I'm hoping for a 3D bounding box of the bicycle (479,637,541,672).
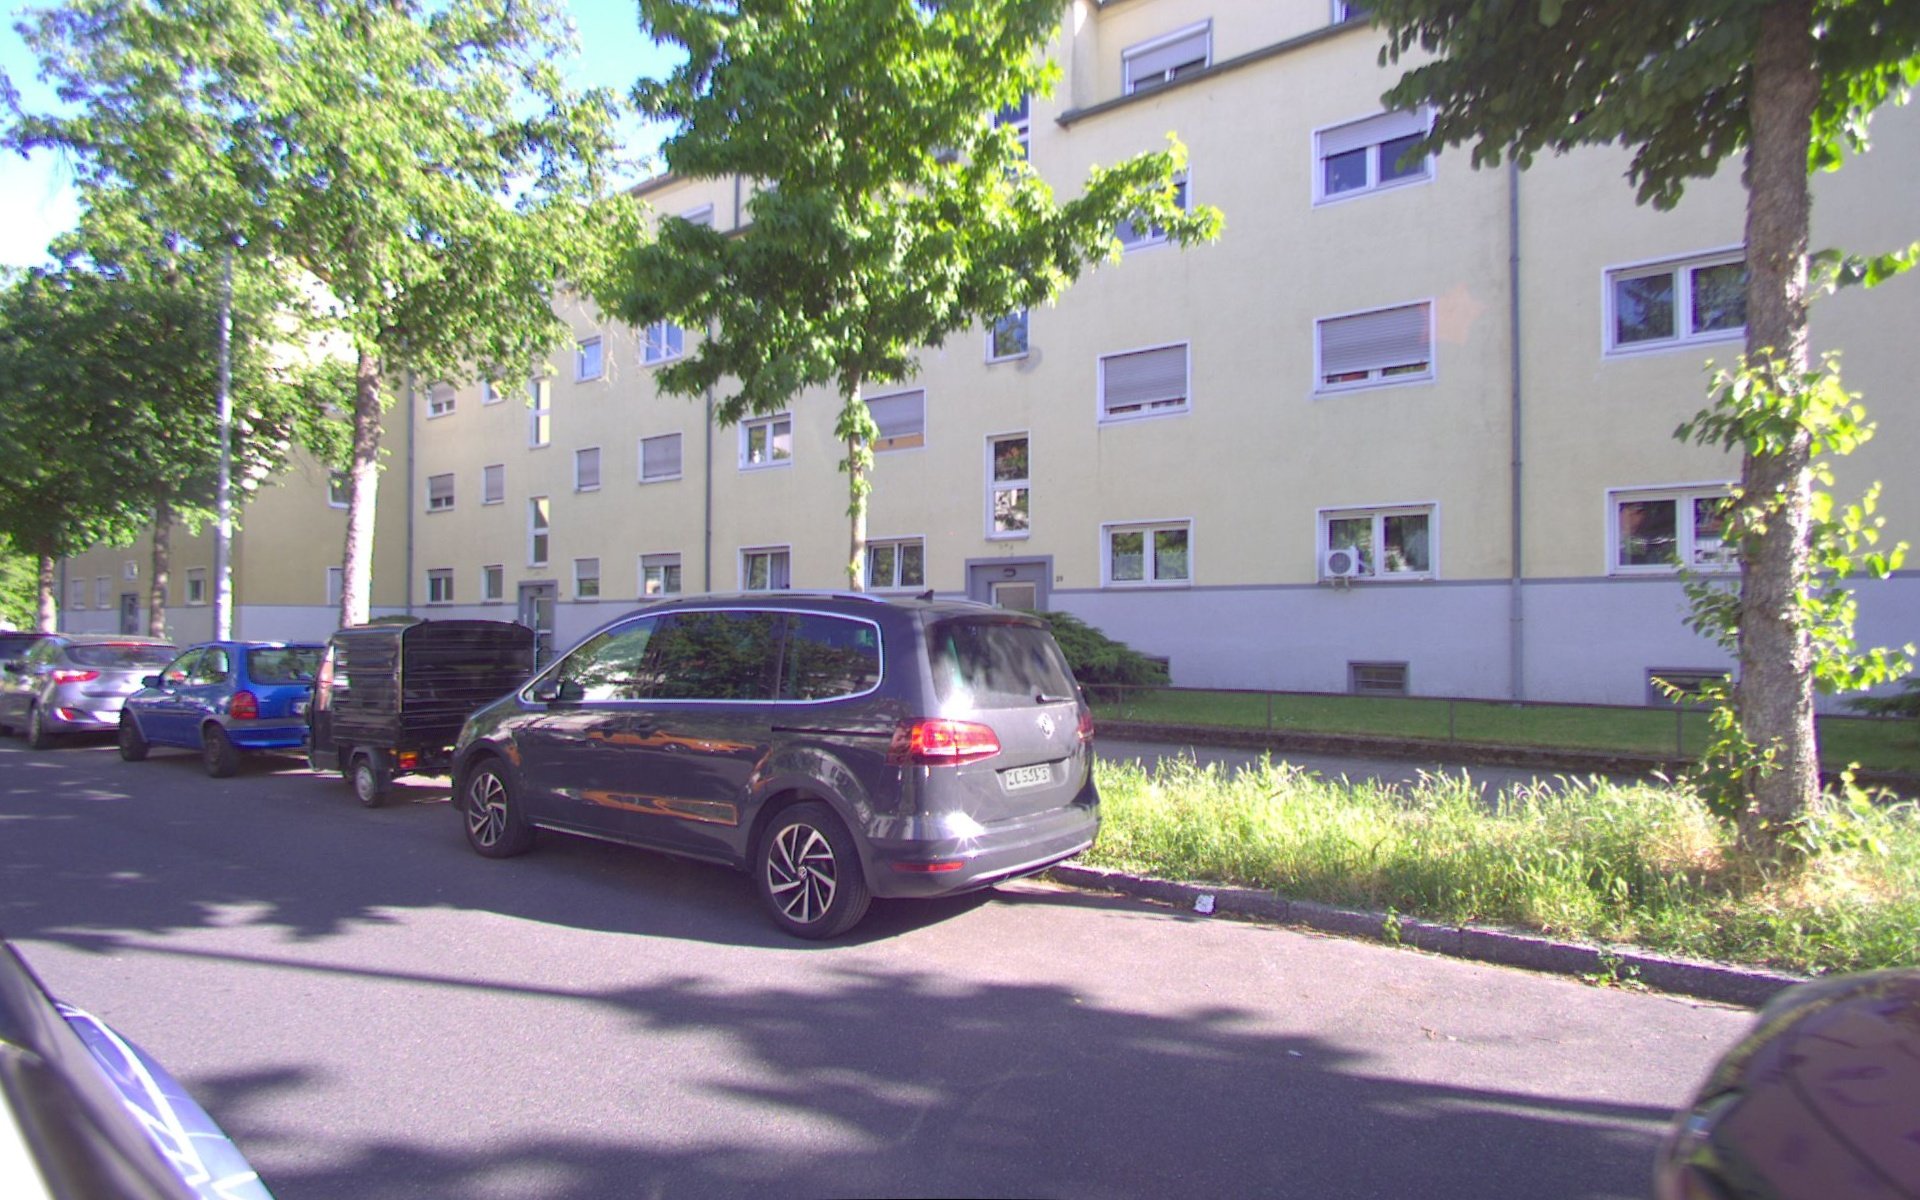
[{"bbox_3d":[-12.474,1.492,28.109,0.479,0.938,1.622,-1,-3,27],"label":"bicycle"}]

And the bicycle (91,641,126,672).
[{"bbox_3d":[-28.976,1.901,34.429,1.745,1.034,0.535,-2,-2,37],"label":"bicycle"}]

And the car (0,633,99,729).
[{"bbox_3d":[-16.808,1.366,17.765,4.261,1.527,1.605,-2,-5,37],"label":"car"}]

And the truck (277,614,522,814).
[{"bbox_3d":[-5.147,0.947,9.232,2.428,1.589,1.074,-2,-3,38],"label":"truck"}]

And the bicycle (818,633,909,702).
[{"bbox_3d":[-1.703,1.172,18.095,0.486,1.089,1.821,0,1,38],"label":"bicycle"}]

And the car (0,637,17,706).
[{"bbox_3d":[-21.601,1.465,21.247,4.664,1.379,1.730,-1,-3,36],"label":"car"}]

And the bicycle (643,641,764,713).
[{"bbox_3d":[-4.074,1.211,16.088,1.826,1.089,0.485,0,0,12],"label":"bicycle"}]

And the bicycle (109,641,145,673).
[{"bbox_3d":[-27.410,1.863,33.302,1.745,1.034,0.530,-2,-2,37],"label":"bicycle"}]

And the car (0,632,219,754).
[{"bbox_3d":[-12.383,1.216,14.321,4.680,1.455,1.775,-2,-4,38],"label":"car"}]

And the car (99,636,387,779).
[{"bbox_3d":[-8.334,1.117,11.677,3.717,1.406,1.508,-1,-2,34],"label":"car"}]

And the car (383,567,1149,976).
[{"bbox_3d":[-1.475,0.824,6.424,4.965,1.693,1.833,-2,-5,36],"label":"car"}]
